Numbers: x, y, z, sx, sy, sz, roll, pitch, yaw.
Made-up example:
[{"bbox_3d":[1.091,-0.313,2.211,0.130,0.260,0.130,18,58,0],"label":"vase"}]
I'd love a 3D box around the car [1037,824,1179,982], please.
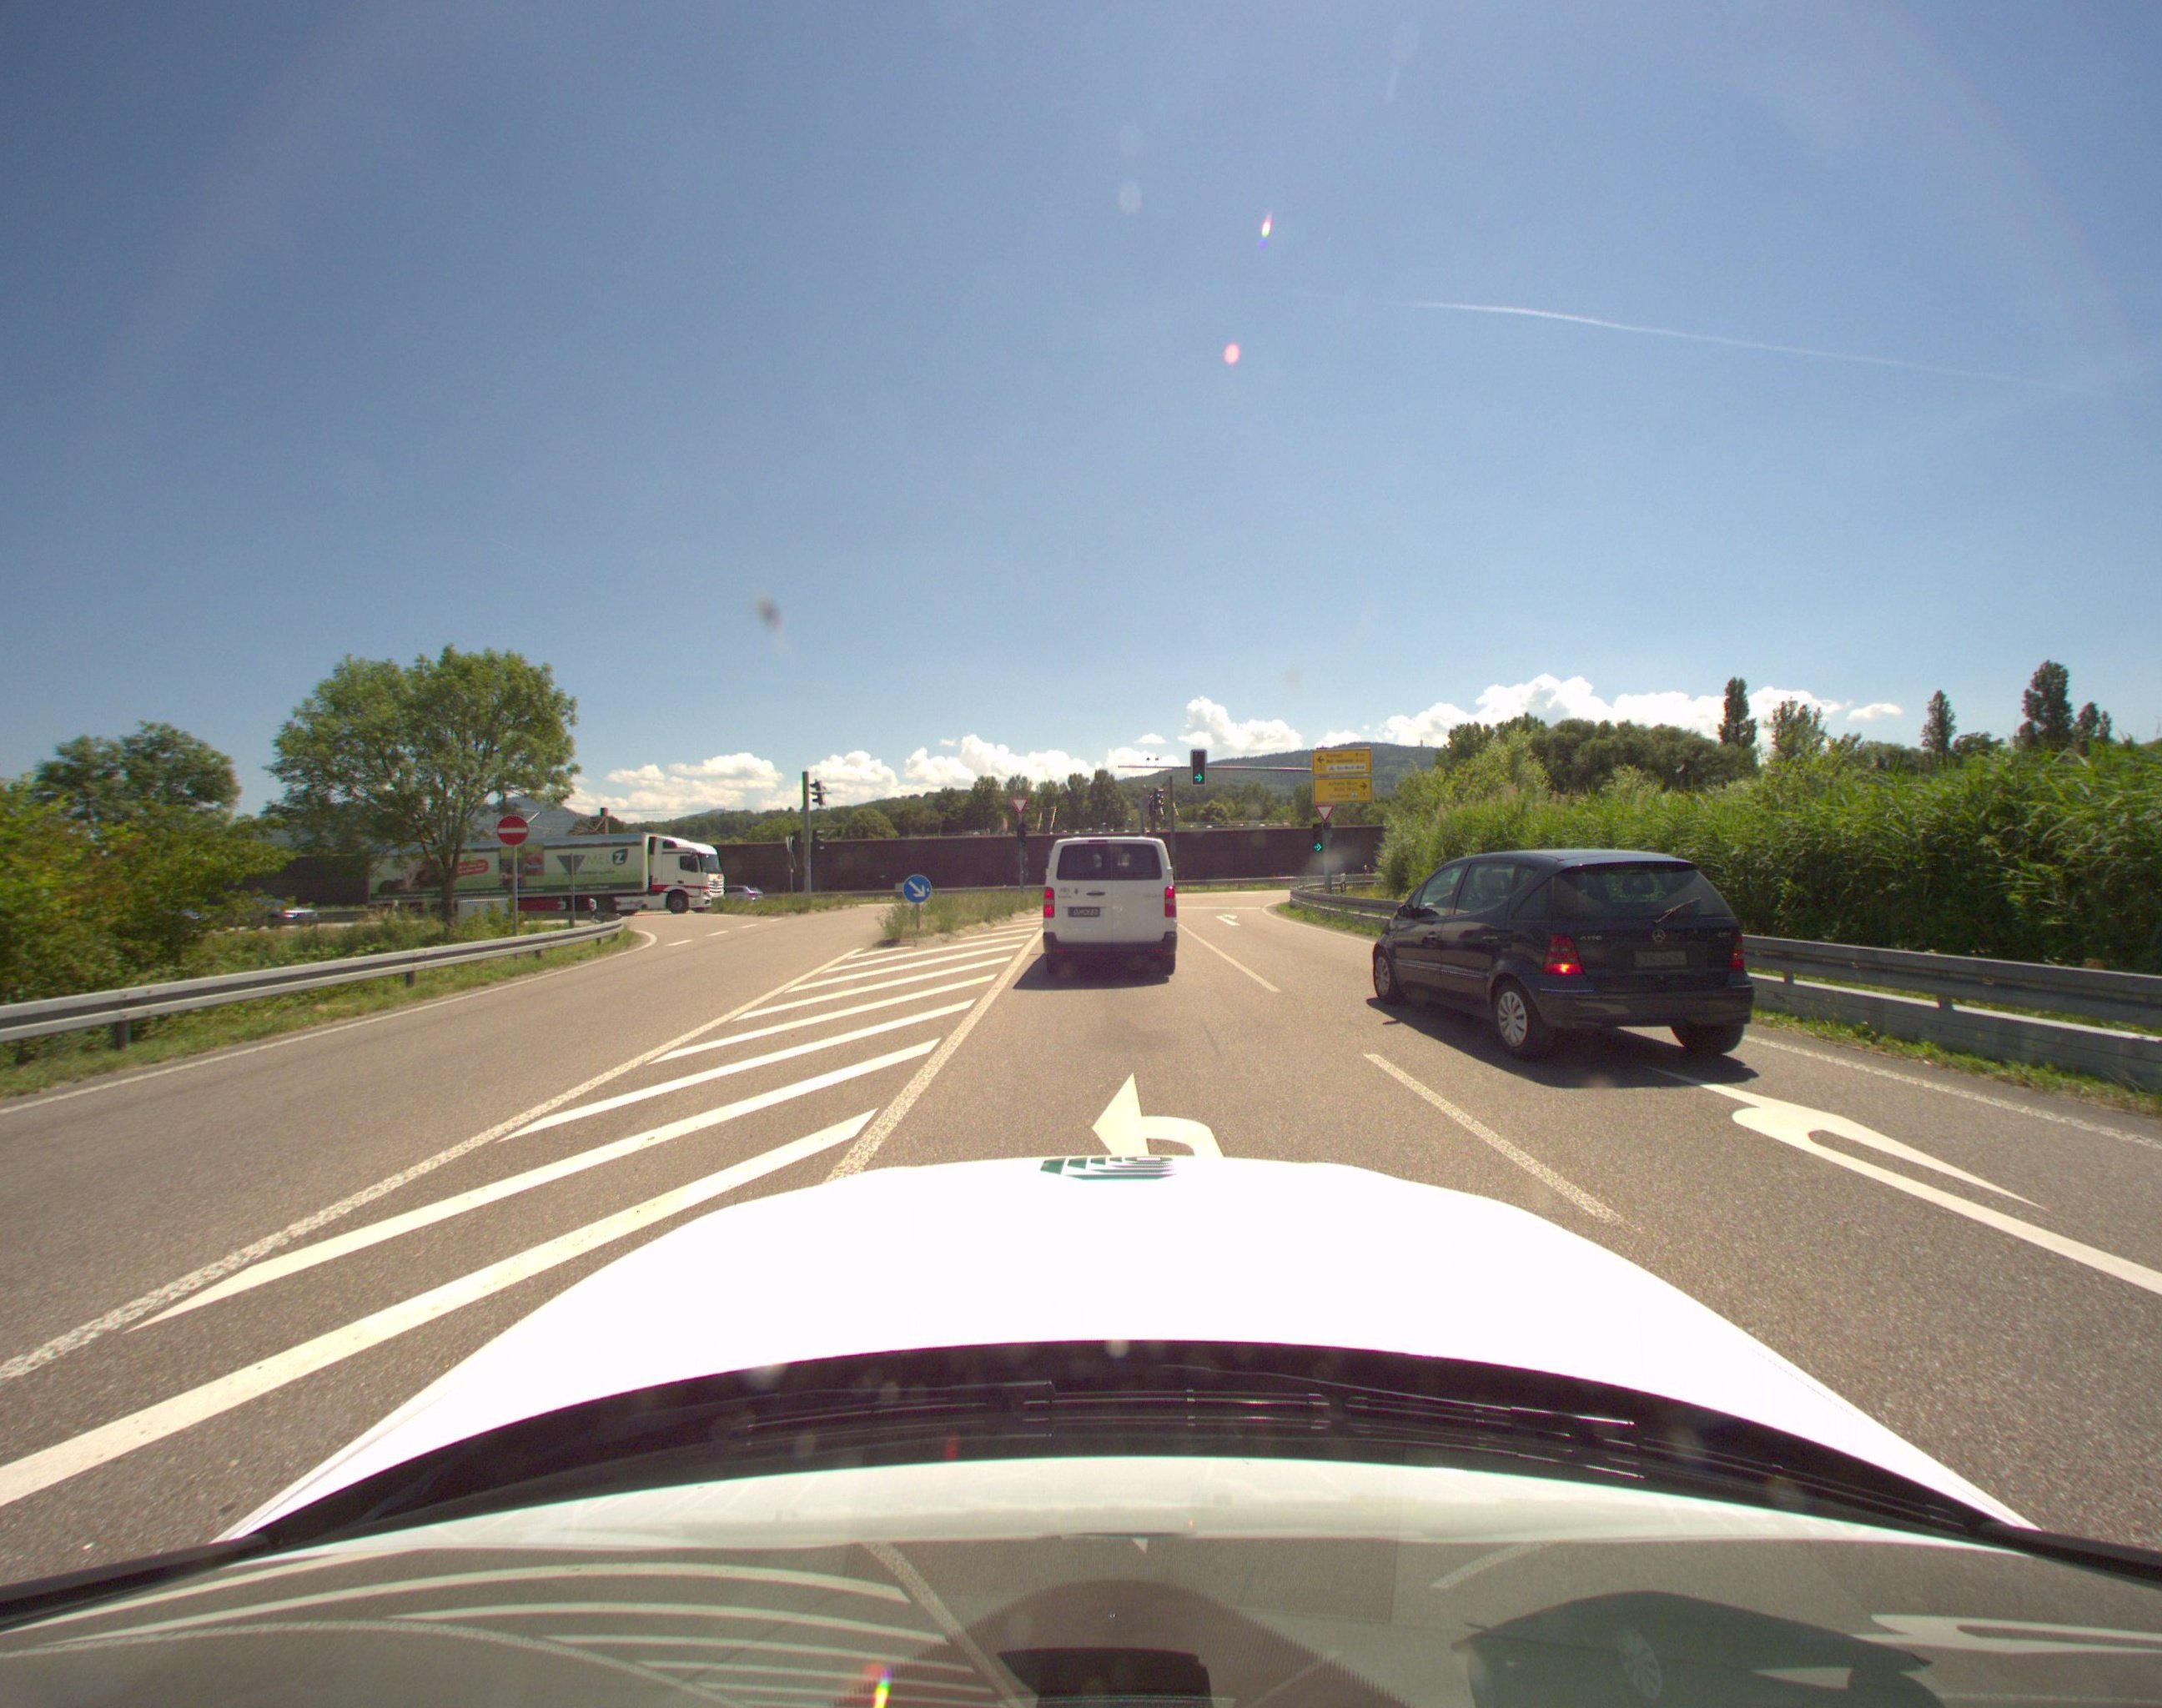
[{"bbox_3d":[0.409,0.669,12.617,1.808,2.018,4.001,-1,-1,1],"label":"car"}]

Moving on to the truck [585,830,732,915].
[{"bbox_3d":[-21.138,0.916,41.019,5.747,3.955,3.061,-1,-1,0],"label":"truck"}]

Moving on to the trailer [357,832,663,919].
[{"bbox_3d":[-28.396,1.063,40.941,13.099,3.955,3.061,-1,-1,-1],"label":"trailer"}]

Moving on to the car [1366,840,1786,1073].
[{"bbox_3d":[4.075,0.737,7.461,1.663,1.600,3.552,-1,-1,0],"label":"car"}]

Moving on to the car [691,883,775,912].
[{"bbox_3d":[-20.339,2.538,47.690,3.972,1.552,2.000,-1,-1,1],"label":"car"}]

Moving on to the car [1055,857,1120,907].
[{"bbox_3d":[0.206,1.189,35.683,1.994,2.014,4.696,-1,-1,-10],"label":"car"}]
